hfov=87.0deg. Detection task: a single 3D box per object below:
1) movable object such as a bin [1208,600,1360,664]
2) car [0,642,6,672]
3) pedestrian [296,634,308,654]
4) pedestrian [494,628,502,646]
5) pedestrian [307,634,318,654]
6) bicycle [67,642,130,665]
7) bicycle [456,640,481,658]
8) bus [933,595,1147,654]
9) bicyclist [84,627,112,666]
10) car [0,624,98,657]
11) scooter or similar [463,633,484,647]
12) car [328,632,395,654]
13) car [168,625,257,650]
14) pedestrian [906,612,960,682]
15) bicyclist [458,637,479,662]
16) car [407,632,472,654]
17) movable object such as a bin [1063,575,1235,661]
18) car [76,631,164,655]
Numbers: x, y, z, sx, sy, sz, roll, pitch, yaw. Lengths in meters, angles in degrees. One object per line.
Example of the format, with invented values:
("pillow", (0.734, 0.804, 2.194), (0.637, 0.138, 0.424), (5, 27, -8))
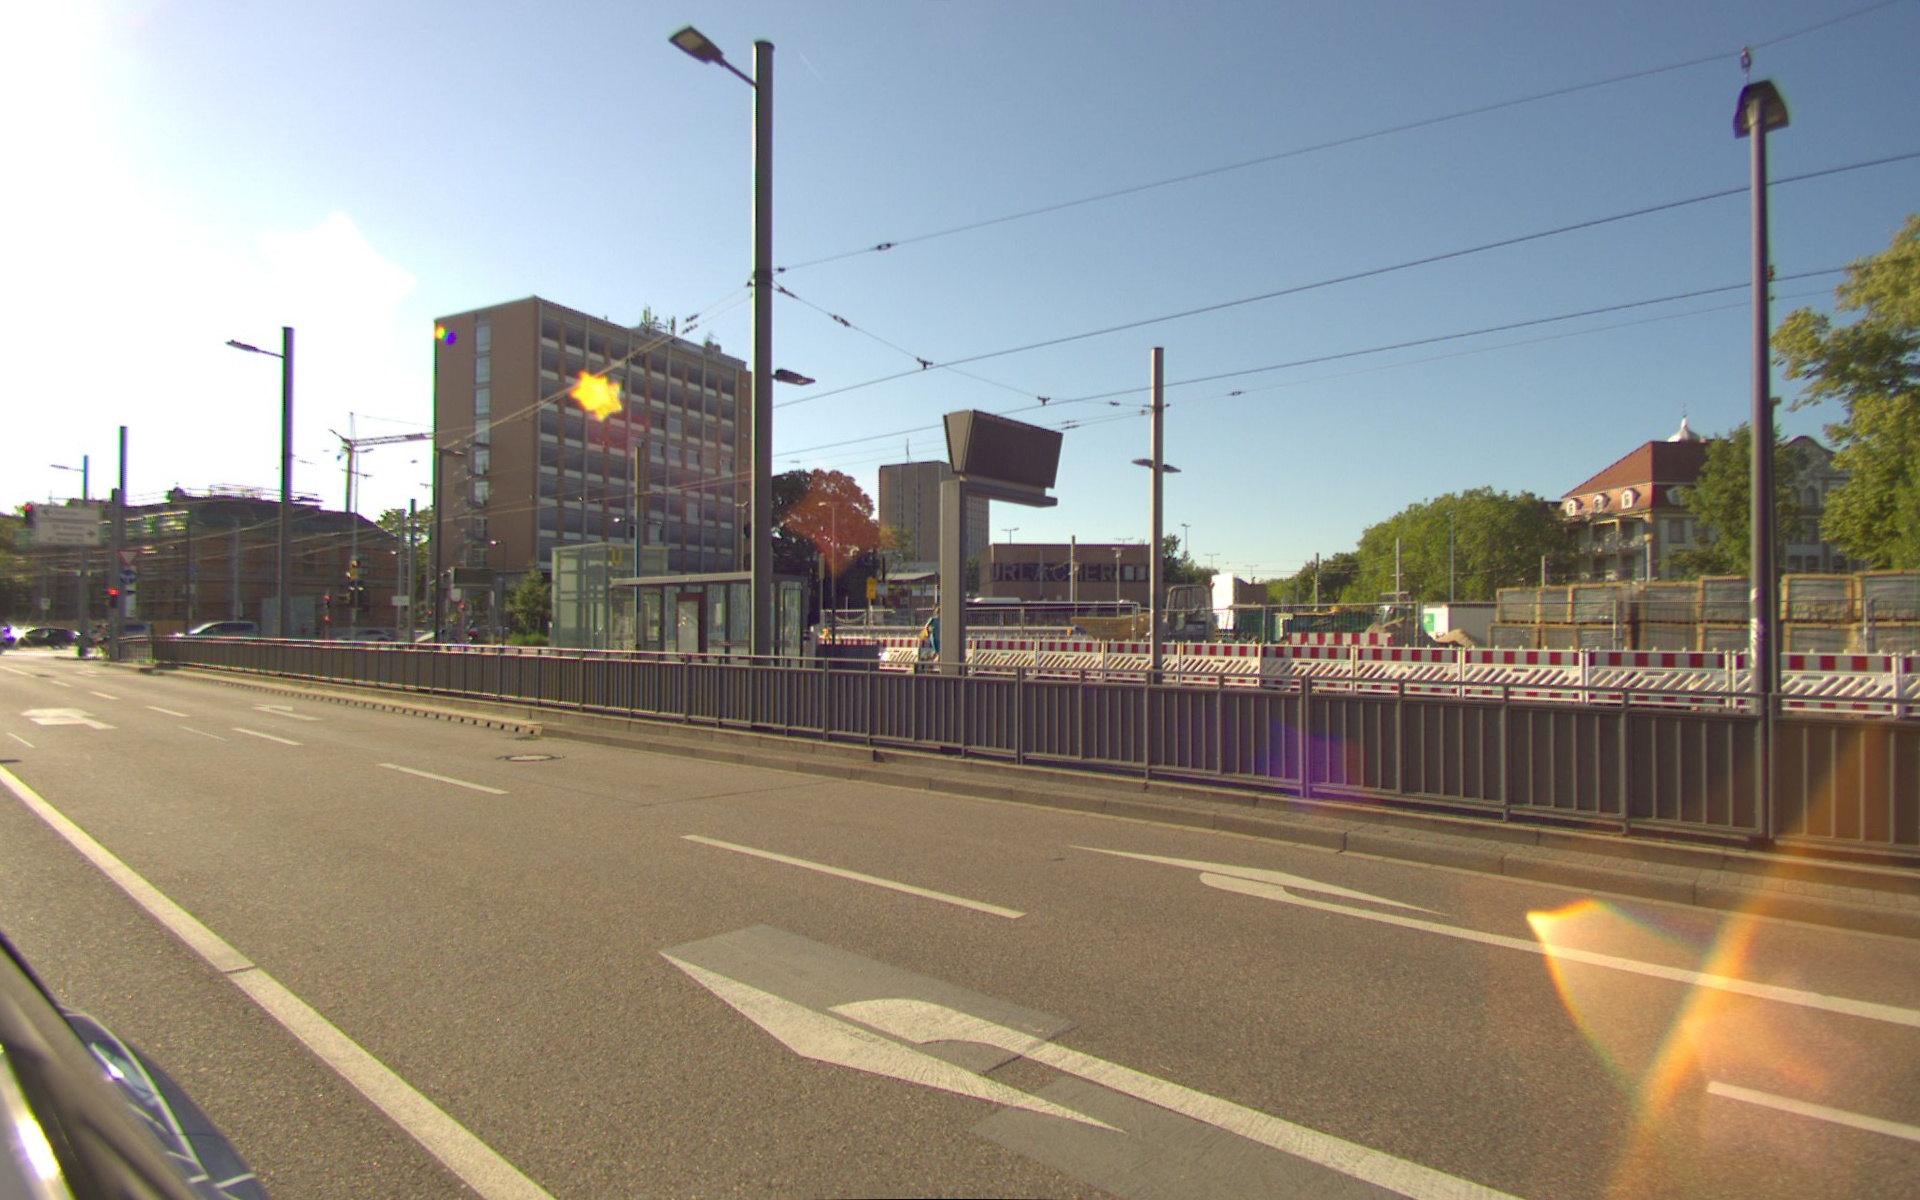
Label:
("movable object such as a bin", (9.073, 0.944, 28.540), (3.862, 1.599, 1.161), (-5, -6, 40))
("car", (-54.088, 3.107, 54.199), (1.972, 1.689, 4.283), (0, -1, 0))
("pedestrian", (-57.579, 3.861, 88.591), (0.612, 1.752, 0.666), (1, -1, -7))
("pedestrian", (-45.038, 3.625, 98.726), (0.614, 1.725, 0.487), (0, -4, -14))
("pedestrian", (-57.148, 3.907, 89.271), (0.721, 1.752, 0.623), (2, -1, -38))
("bicycle", (-36.286, 2.243, 42.659), (0.814, 0.949, 1.872), (-1, -3, 36))
("bicycle", (-28.921, 2.884, 59.551), (0.803, 0.949, 2.005), (-5, 3, -40))
("bus", (4.728, 1.504, 61.195), (12.467, 3.219, 2.844), (-1, -4, -5))
("bicyclist", (-36.298, 1.967, 42.629), (0.814, 1.629, 0.668), (-1, -3, 36))
("car", (-61.133, 2.714, 67.109), (1.997, 2.029, 5.693), (-5, -5, 37))
("scooter or similar", (-47.443, 3.899, 98.679), (1.691, 1.257, 0.796), (-2, -4, 14))
("car", (-49.640, 3.588, 83.930), (4.628, 1.697, 2.005), (1, -5, -34))
("car", (-51.556, 2.552, 69.854), (1.998, 1.701, 4.557), (-1, -2, 39))
("pedestrian", (-0.727, 1.251, 26.763), (1.179, 1.782, 0.793), (-5, -6, 41))
("bicyclist", (-28.923, 2.884, 59.546), (0.803, 1.354, 0.903), (-5, 3, -40))
("car", (-43.260, 3.582, 84.169), (4.628, 1.697, 2.005), (1, -5, -34))
("movable object such as a bin", (6.315, 0.686, 33.822), (5.137, 2.545, 2.614), (-3, -5, 23))
("car", (-61.268, 3.134, 73.923), (4.626, 1.697, 2.006), (1, -5, -29))
